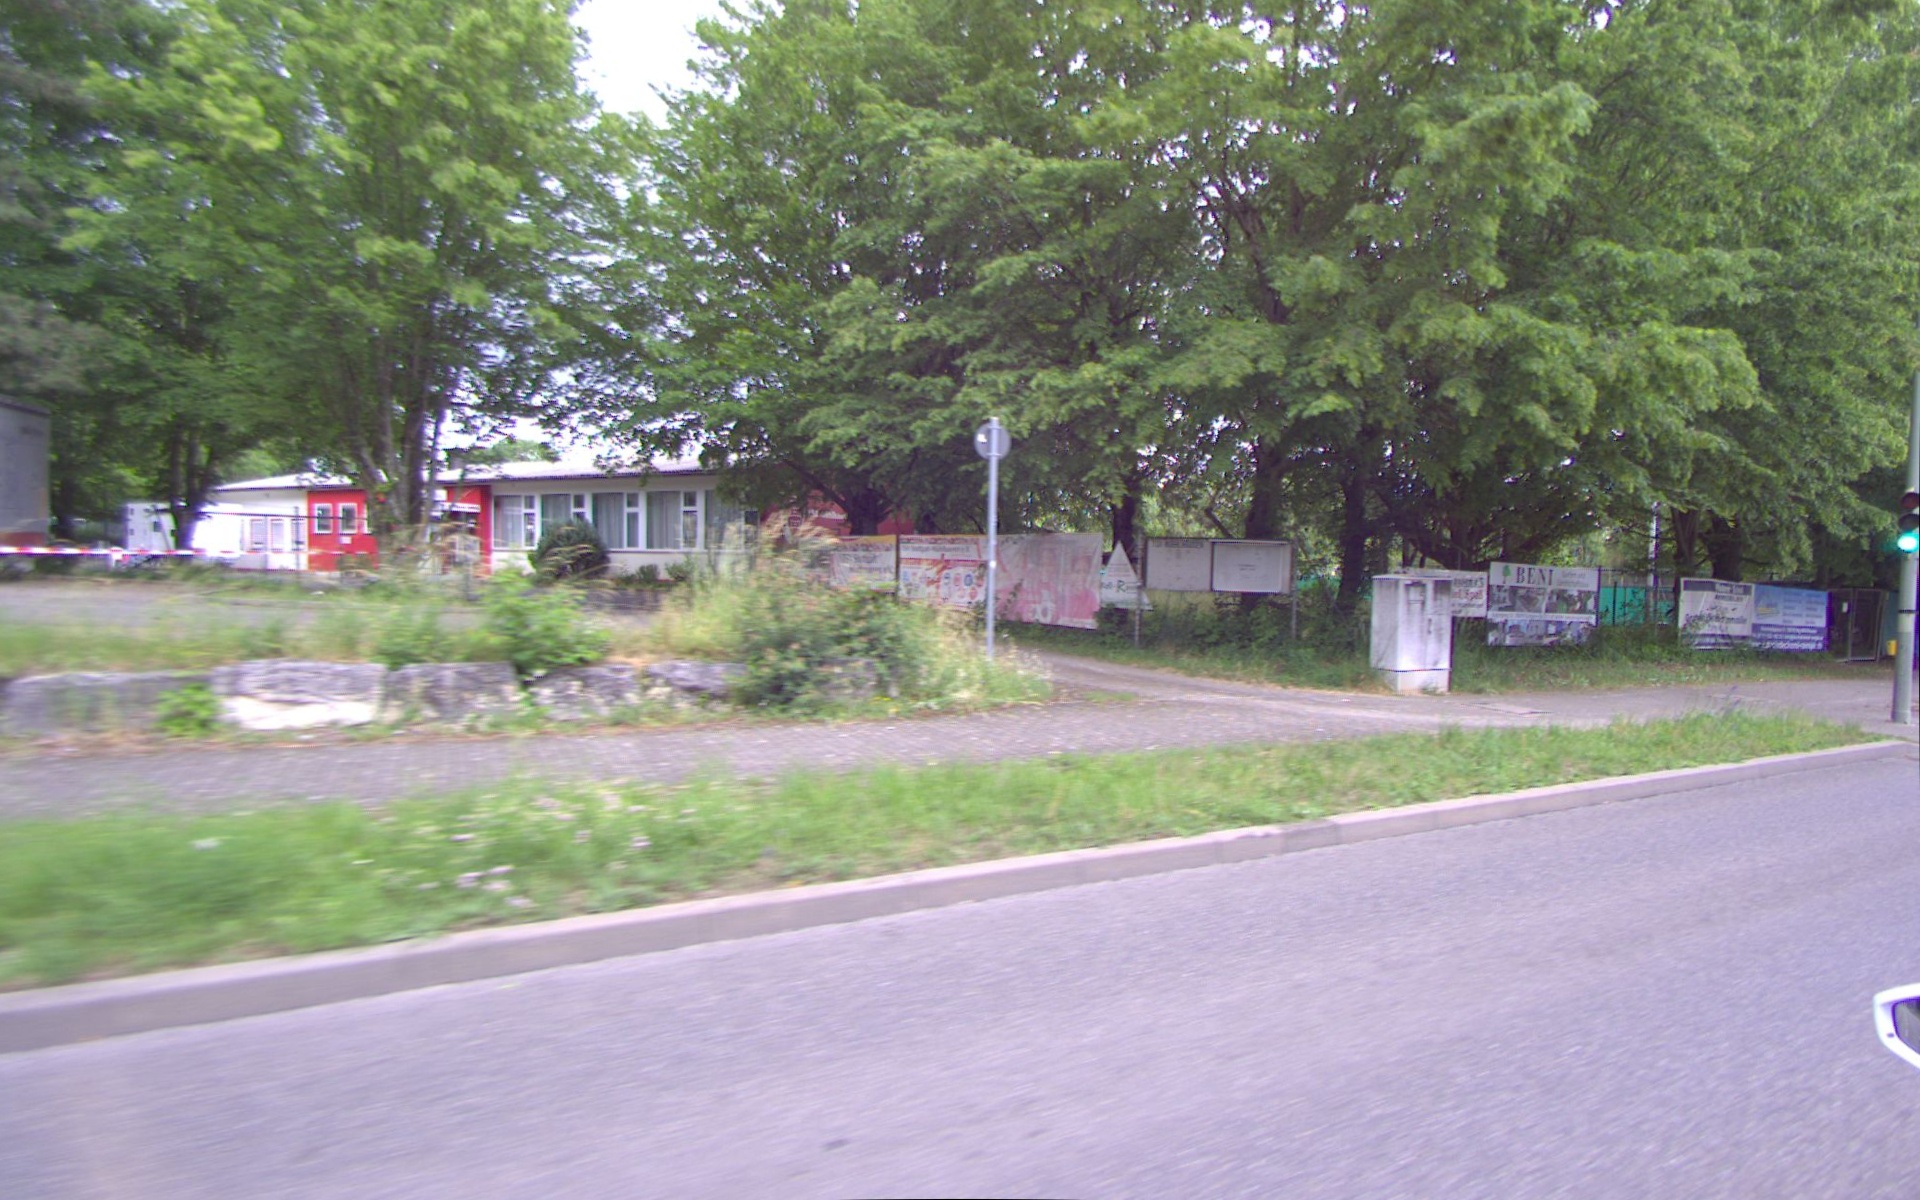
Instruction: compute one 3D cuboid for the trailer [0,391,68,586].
[{"bbox_3d":[-19.142,-1.973,15.787,7.096,3.115,2.641,2,2,-24],"label":"trailer"}]
